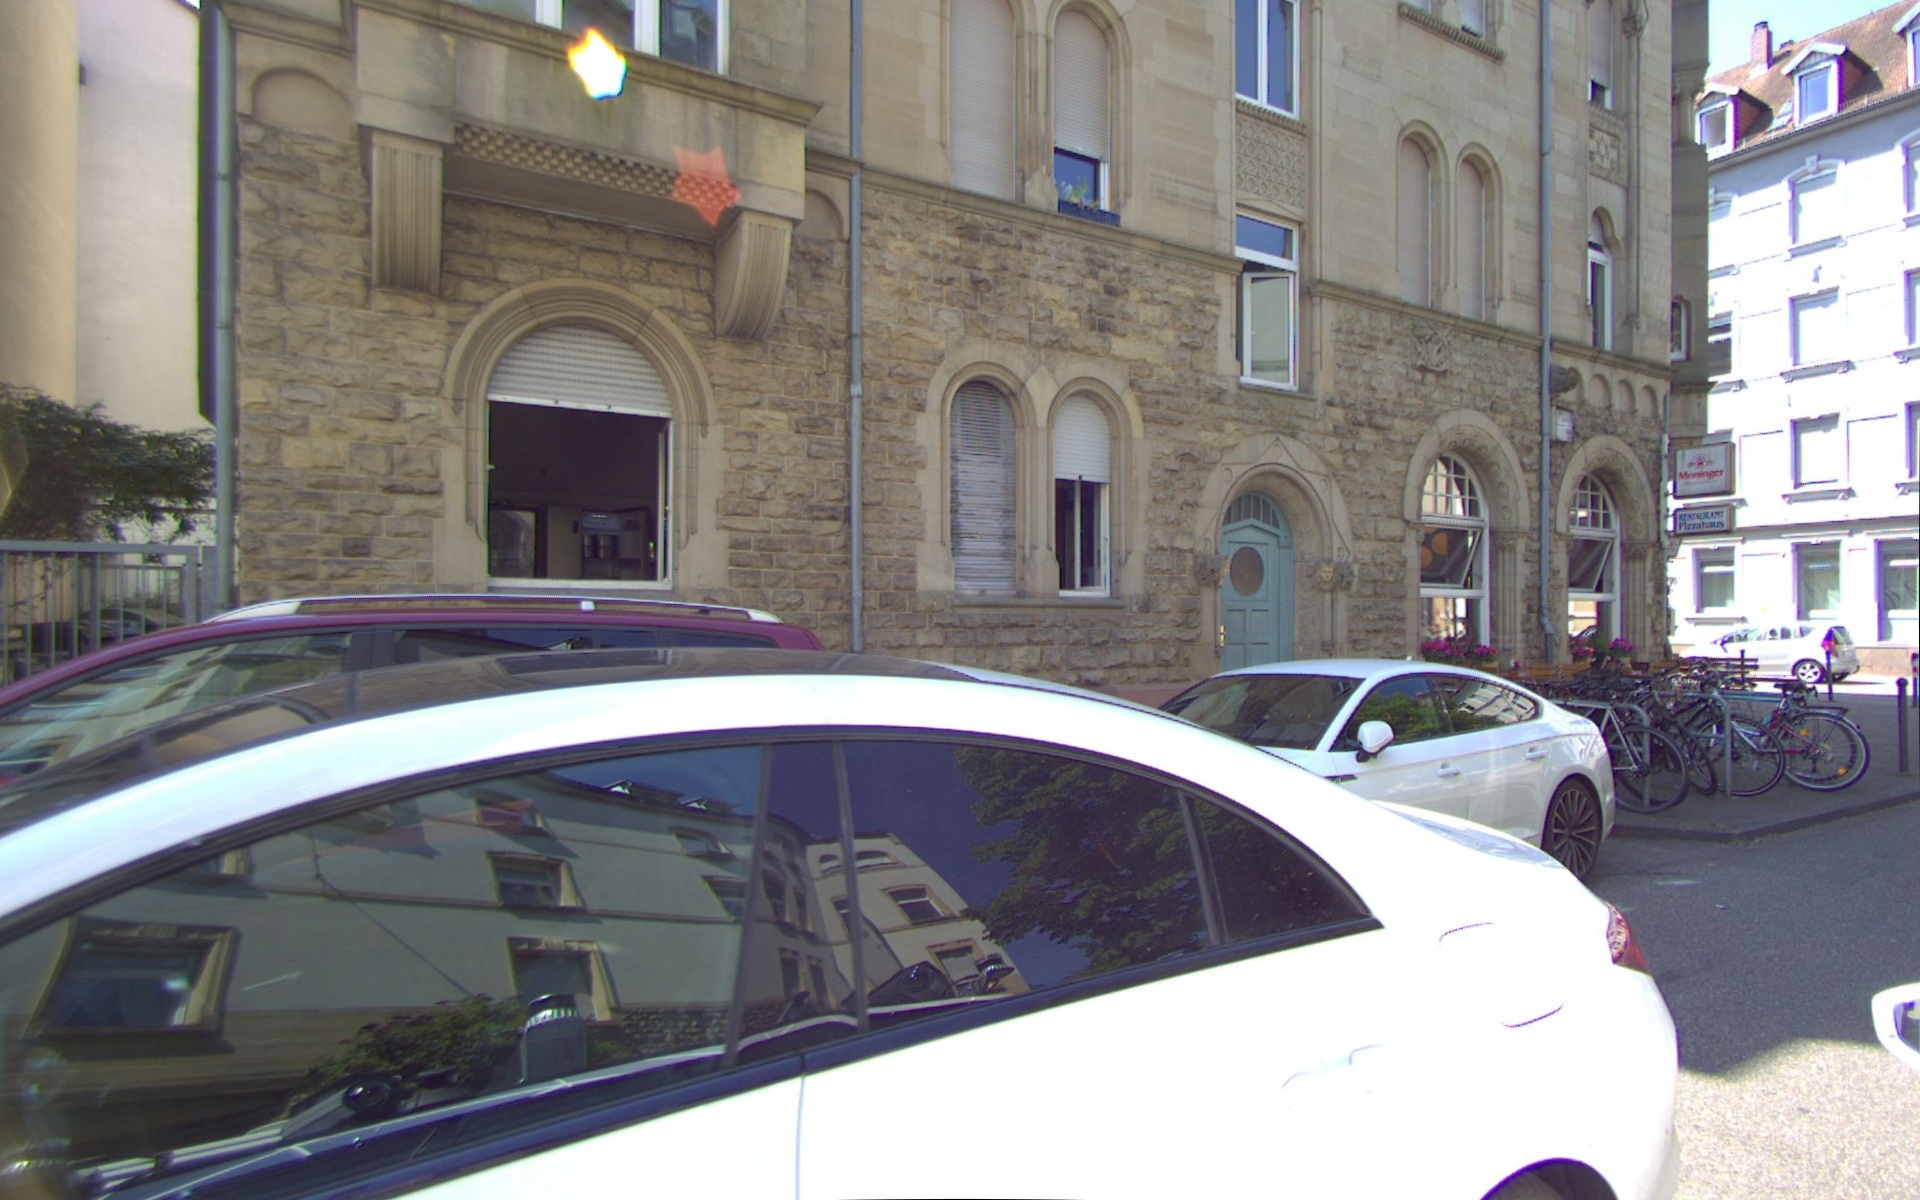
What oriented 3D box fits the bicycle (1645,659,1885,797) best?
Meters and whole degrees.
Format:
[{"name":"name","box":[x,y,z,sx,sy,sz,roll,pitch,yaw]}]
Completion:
[{"name":"bicycle","box":[7.485,1.143,9.428,0.410,1.059,1.694,1,1,-33]}]

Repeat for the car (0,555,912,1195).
[{"name":"car","box":[-2.323,0.747,3.585,4.007,1.603,1.664,1,-4,-32]}]

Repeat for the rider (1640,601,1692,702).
[{"name":"rider","box":[12.314,0.897,17.532,0.530,1.719,0.642,-1,-2,15]}]

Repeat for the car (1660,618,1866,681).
[{"name":"car","box":[21.840,1.319,27.479,1.786,1.582,4.027,1,-2,-31]}]

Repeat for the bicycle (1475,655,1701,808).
[{"name":"bicycle","box":[5.420,1.088,8.783,0.289,1.115,1.692,1,0,-33]}]

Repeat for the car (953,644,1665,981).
[{"name":"car","box":[2.290,0.985,6.129,4.466,1.370,1.692,1,-4,-33]}]

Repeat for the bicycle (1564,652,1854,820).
[{"name":"bicycle","box":[6.370,1.103,8.686,0.391,1.145,1.960,1,2,-33]}]

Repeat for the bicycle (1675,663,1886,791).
[{"name":"bicycle","box":[7.837,1.173,9.661,0.363,1.021,1.516,1,1,-33]}]

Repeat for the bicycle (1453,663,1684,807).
[{"name":"bicycle","box":[5.151,1.114,8.628,0.289,1.114,1.693,1,-4,-33]}]

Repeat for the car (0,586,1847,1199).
[{"name":"car","box":[-0.642,0.792,1.608,4.311,1.479,1.833,1,-4,-30]}]

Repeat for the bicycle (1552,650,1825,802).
[{"name":"bicycle","box":[6.559,1.081,9.176,0.431,1.144,1.983,1,0,-33]}]
